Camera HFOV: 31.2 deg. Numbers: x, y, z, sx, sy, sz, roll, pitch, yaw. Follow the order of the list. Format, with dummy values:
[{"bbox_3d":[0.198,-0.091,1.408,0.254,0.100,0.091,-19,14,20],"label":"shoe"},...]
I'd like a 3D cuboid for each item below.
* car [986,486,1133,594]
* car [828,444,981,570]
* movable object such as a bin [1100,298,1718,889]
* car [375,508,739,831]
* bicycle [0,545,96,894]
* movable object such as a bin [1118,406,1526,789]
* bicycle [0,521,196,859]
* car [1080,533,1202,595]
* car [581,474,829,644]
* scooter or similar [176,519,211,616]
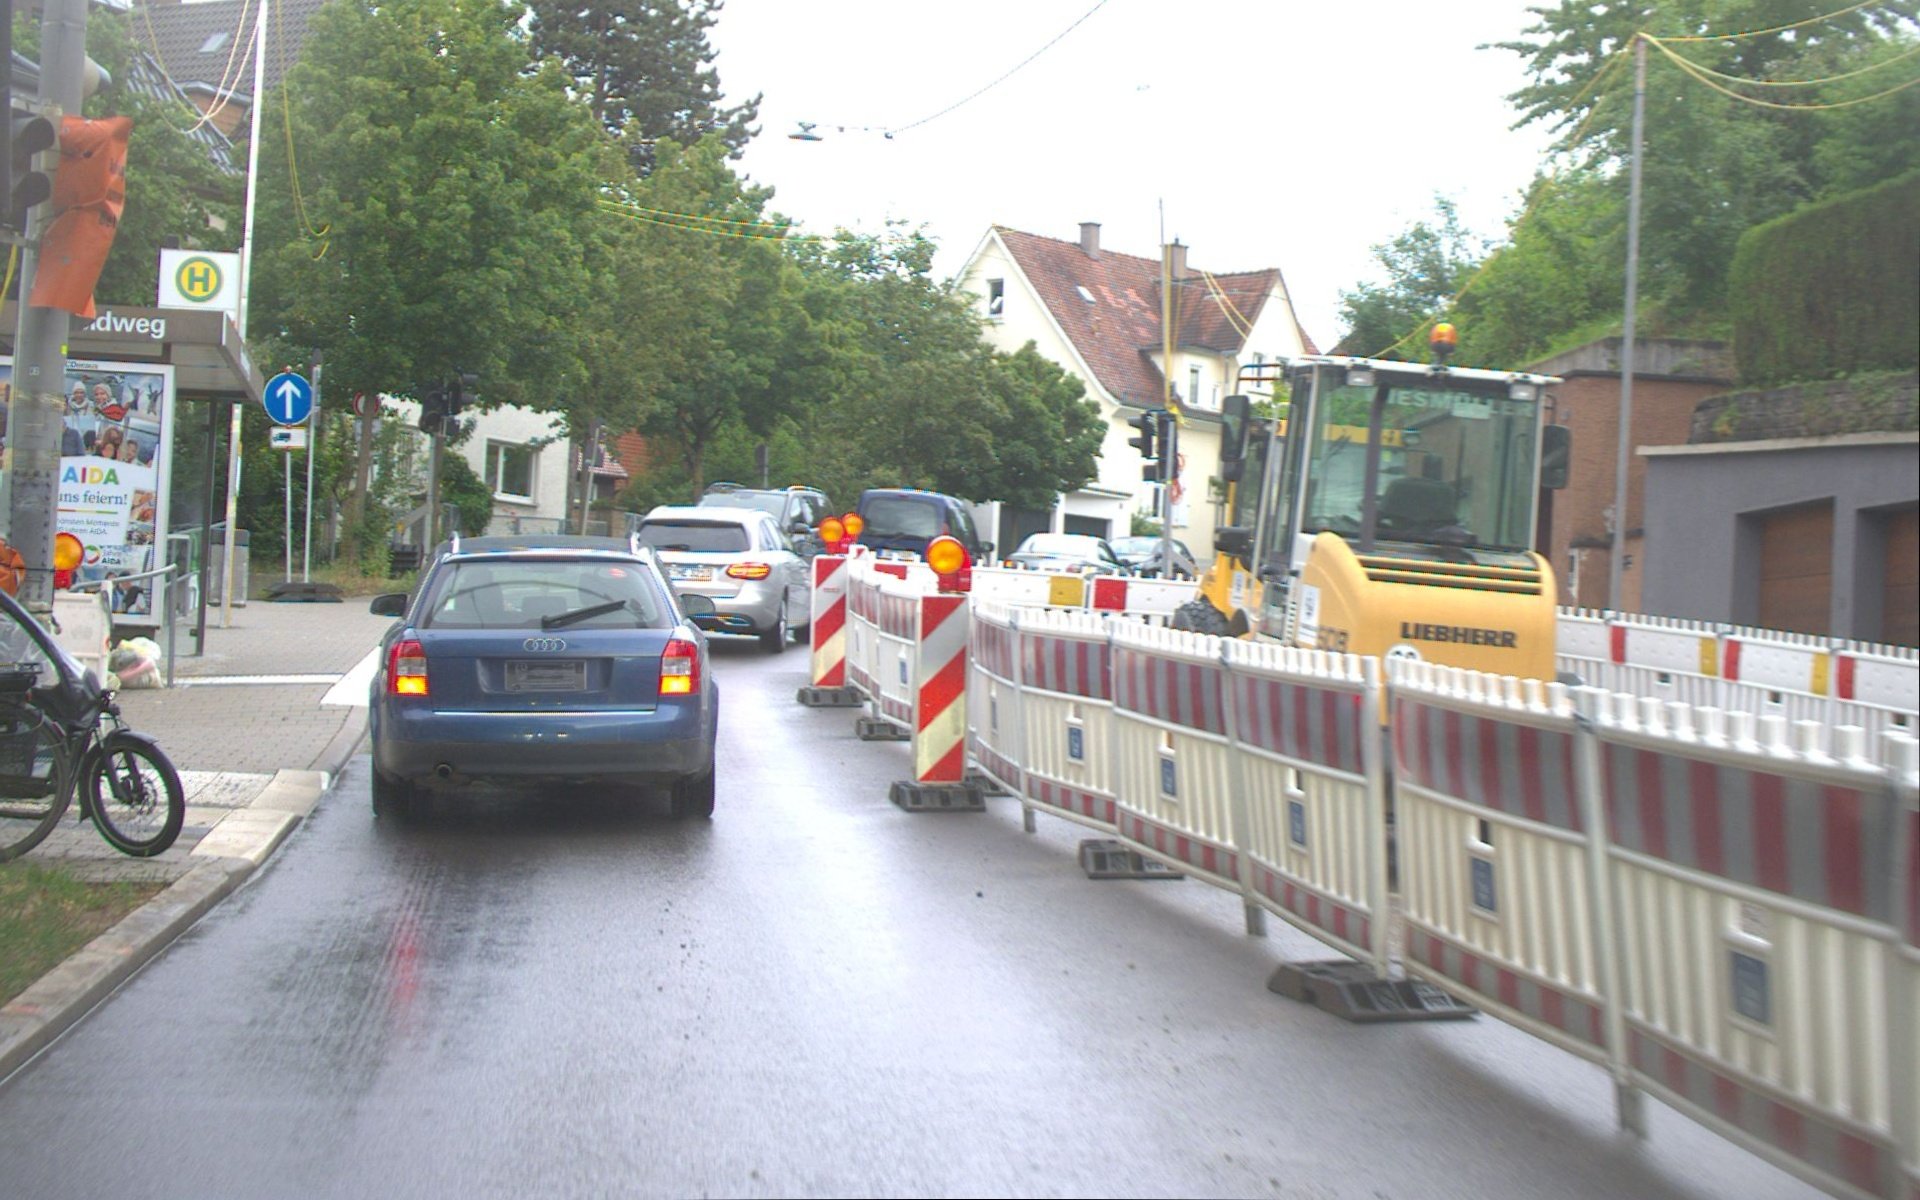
[{"bbox_3d":[1.818,-1.065,61.633,1.734,1.762,4.232,4,1,13],"label":"car"},{"bbox_3d":[-0.773,-1.409,50.791,1.734,1.762,4.234,1,3,6],"label":"car"},{"bbox_3d":[2.343,0.000,19.764,2.086,2.828,5.678,2,-1,-7],"label":"movable object such as a bin"},{"bbox_3d":[-2.242,0.280,18.462,1.733,1.461,4.002,0,3,-9],"label":"car"},{"bbox_3d":[-4.307,0.435,13.514,1.690,1.341,0.419,3,2,-12],"label":"bicycle"},{"bbox_3d":[2.884,-0.121,28.932,2.086,2.828,5.679,2,2,-7],"label":"movable object such as a bin"},{"bbox_3d":[-4.291,0.350,14.107,2.228,1.357,0.810,1,1,-13],"label":"bicycle"},{"bbox_3d":[4.519,-0.881,85.491,1.672,1.461,3.889,2,0,25],"label":"car"},{"bbox_3d":[-2.604,-0.482,36.047,1.976,1.629,4.235,1,3,4],"label":"car"},{"bbox_3d":[-8.721,-0.375,39.138,0.323,1.077,1.096,1,2,-9],"label":"scooter or similar"}]
